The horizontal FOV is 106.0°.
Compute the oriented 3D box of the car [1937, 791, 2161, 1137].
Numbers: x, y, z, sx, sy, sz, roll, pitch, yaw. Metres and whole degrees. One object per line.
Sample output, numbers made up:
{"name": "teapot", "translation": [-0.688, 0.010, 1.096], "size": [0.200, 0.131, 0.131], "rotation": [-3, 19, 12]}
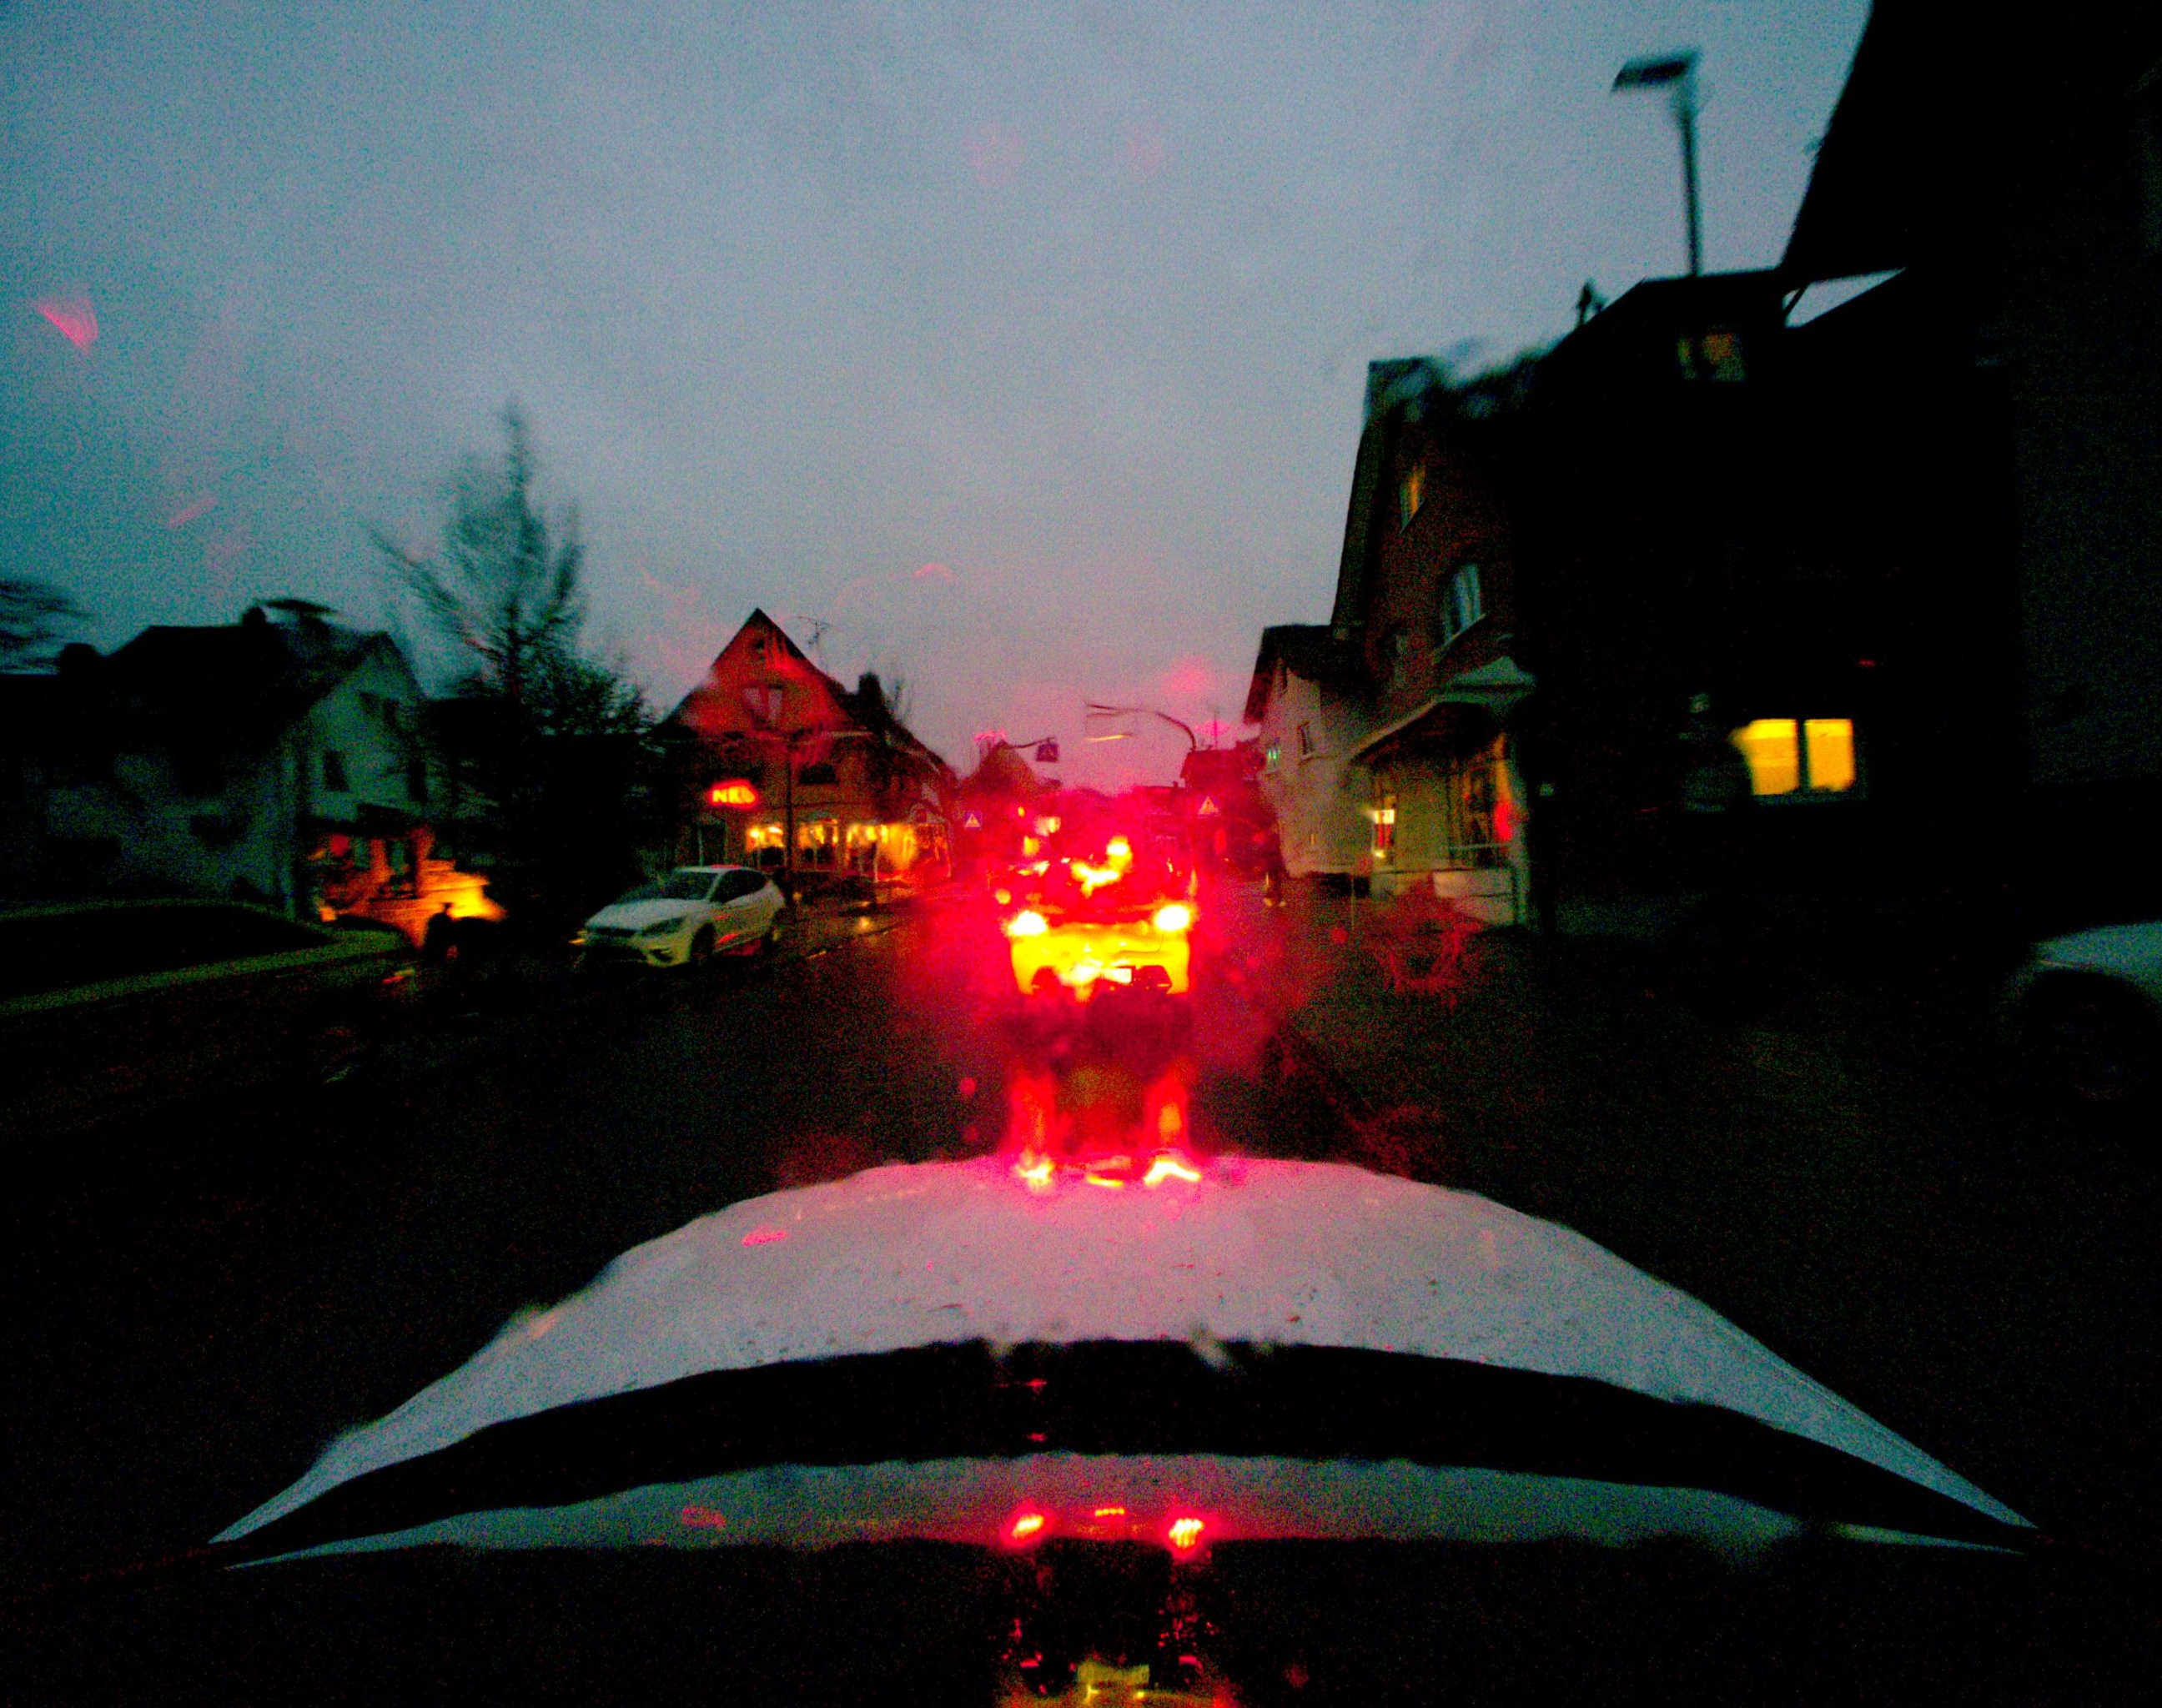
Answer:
{"name": "car", "translation": [5.215, 0.441, 2.089], "size": [1.871, 1.466, 4.558], "rotation": [-3, 0, 12]}

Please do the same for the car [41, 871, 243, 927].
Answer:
{"name": "car", "translation": [-29.047, 1.369, 25.326], "size": [3.893, 1.519, 1.609], "rotation": [-1, 0, -12]}

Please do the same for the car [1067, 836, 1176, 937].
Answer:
{"name": "car", "translation": [0.813, 0.555, 15.543], "size": [1.790, 1.662, 4.004], "rotation": [-1, 0, 4]}

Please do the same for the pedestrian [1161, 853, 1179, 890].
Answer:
{"name": "pedestrian", "translation": [3.024, 0.601, 27.708], "size": [0.551, 1.233, 0.434], "rotation": [-1, 0, -1]}

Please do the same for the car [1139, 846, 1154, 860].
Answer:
{"name": "car", "translation": [7.308, -0.126, 90.976], "size": [1.527, 1.245, 3.653], "rotation": [-6, 1, 6]}

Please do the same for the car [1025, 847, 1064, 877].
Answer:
{"name": "car", "translation": [-2.298, 0.484, 52.007], "size": [1.985, 1.752, 4.366], "rotation": [-1, 0, 4]}

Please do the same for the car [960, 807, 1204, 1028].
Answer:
{"name": "car", "translation": [0.218, 0.505, 9.082], "size": [1.984, 1.795, 4.656], "rotation": [-2, 1, 5]}

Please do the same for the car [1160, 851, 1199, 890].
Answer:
{"name": "car", "translation": [5.536, 0.876, 46.109], "size": [1.636, 2.013, 4.000], "rotation": [-3, 0, 0]}

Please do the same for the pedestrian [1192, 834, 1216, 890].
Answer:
{"name": "pedestrian", "translation": [4.165, 0.258, 27.532], "size": [0.701, 1.876, 0.616], "rotation": [0, 1, -4]}

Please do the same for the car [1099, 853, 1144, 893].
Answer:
{"name": "car", "translation": [1.858, 0.792, 36.256], "size": [1.818, 1.601, 4.587], "rotation": [-1, 0, 5]}

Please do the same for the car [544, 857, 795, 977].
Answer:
{"name": "car", "translation": [-5.995, 0.813, 12.469], "size": [1.663, 1.516, 4.002], "rotation": [0, 0, 2]}

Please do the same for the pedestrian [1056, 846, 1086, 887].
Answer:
{"name": "pedestrian", "translation": [-0.359, 0.458, 30.064], "size": [0.886, 1.417, 0.778], "rotation": [5, 0, 7]}

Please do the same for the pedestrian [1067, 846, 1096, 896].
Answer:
{"name": "pedestrian", "translation": [0.023, 0.582, 29.078], "size": [0.969, 1.742, 0.962], "rotation": [0, 1, 4]}

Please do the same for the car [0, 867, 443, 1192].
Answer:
{"name": "car", "translation": [-6.039, 0.864, 4.294], "size": [1.741, 1.516, 4.346], "rotation": [0, 0, 3]}

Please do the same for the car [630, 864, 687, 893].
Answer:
{"name": "car", "translation": [-26.582, 1.485, 51.393], "size": [1.847, 1.720, 3.990], "rotation": [-1, 0, -7]}

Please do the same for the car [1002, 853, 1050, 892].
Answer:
{"name": "car", "translation": [-2.978, 0.965, 44.890], "size": [1.984, 2.013, 4.367], "rotation": [-1, 0, 4]}

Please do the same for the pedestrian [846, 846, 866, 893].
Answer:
{"name": "pedestrian", "translation": [-8.508, 0.570, 30.858], "size": [0.587, 1.742, 0.683], "rotation": [-1, 0, -5]}

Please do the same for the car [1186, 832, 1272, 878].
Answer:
{"name": "car", "translation": [6.618, 0.057, 36.787], "size": [3.678, 2.014, 1.692], "rotation": [-1, -1, 5]}

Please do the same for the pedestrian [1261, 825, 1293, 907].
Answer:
{"name": "pedestrian", "translation": [4.640, 0.282, 19.287], "size": [0.659, 1.888, 0.826], "rotation": [-1, -1, 9]}
